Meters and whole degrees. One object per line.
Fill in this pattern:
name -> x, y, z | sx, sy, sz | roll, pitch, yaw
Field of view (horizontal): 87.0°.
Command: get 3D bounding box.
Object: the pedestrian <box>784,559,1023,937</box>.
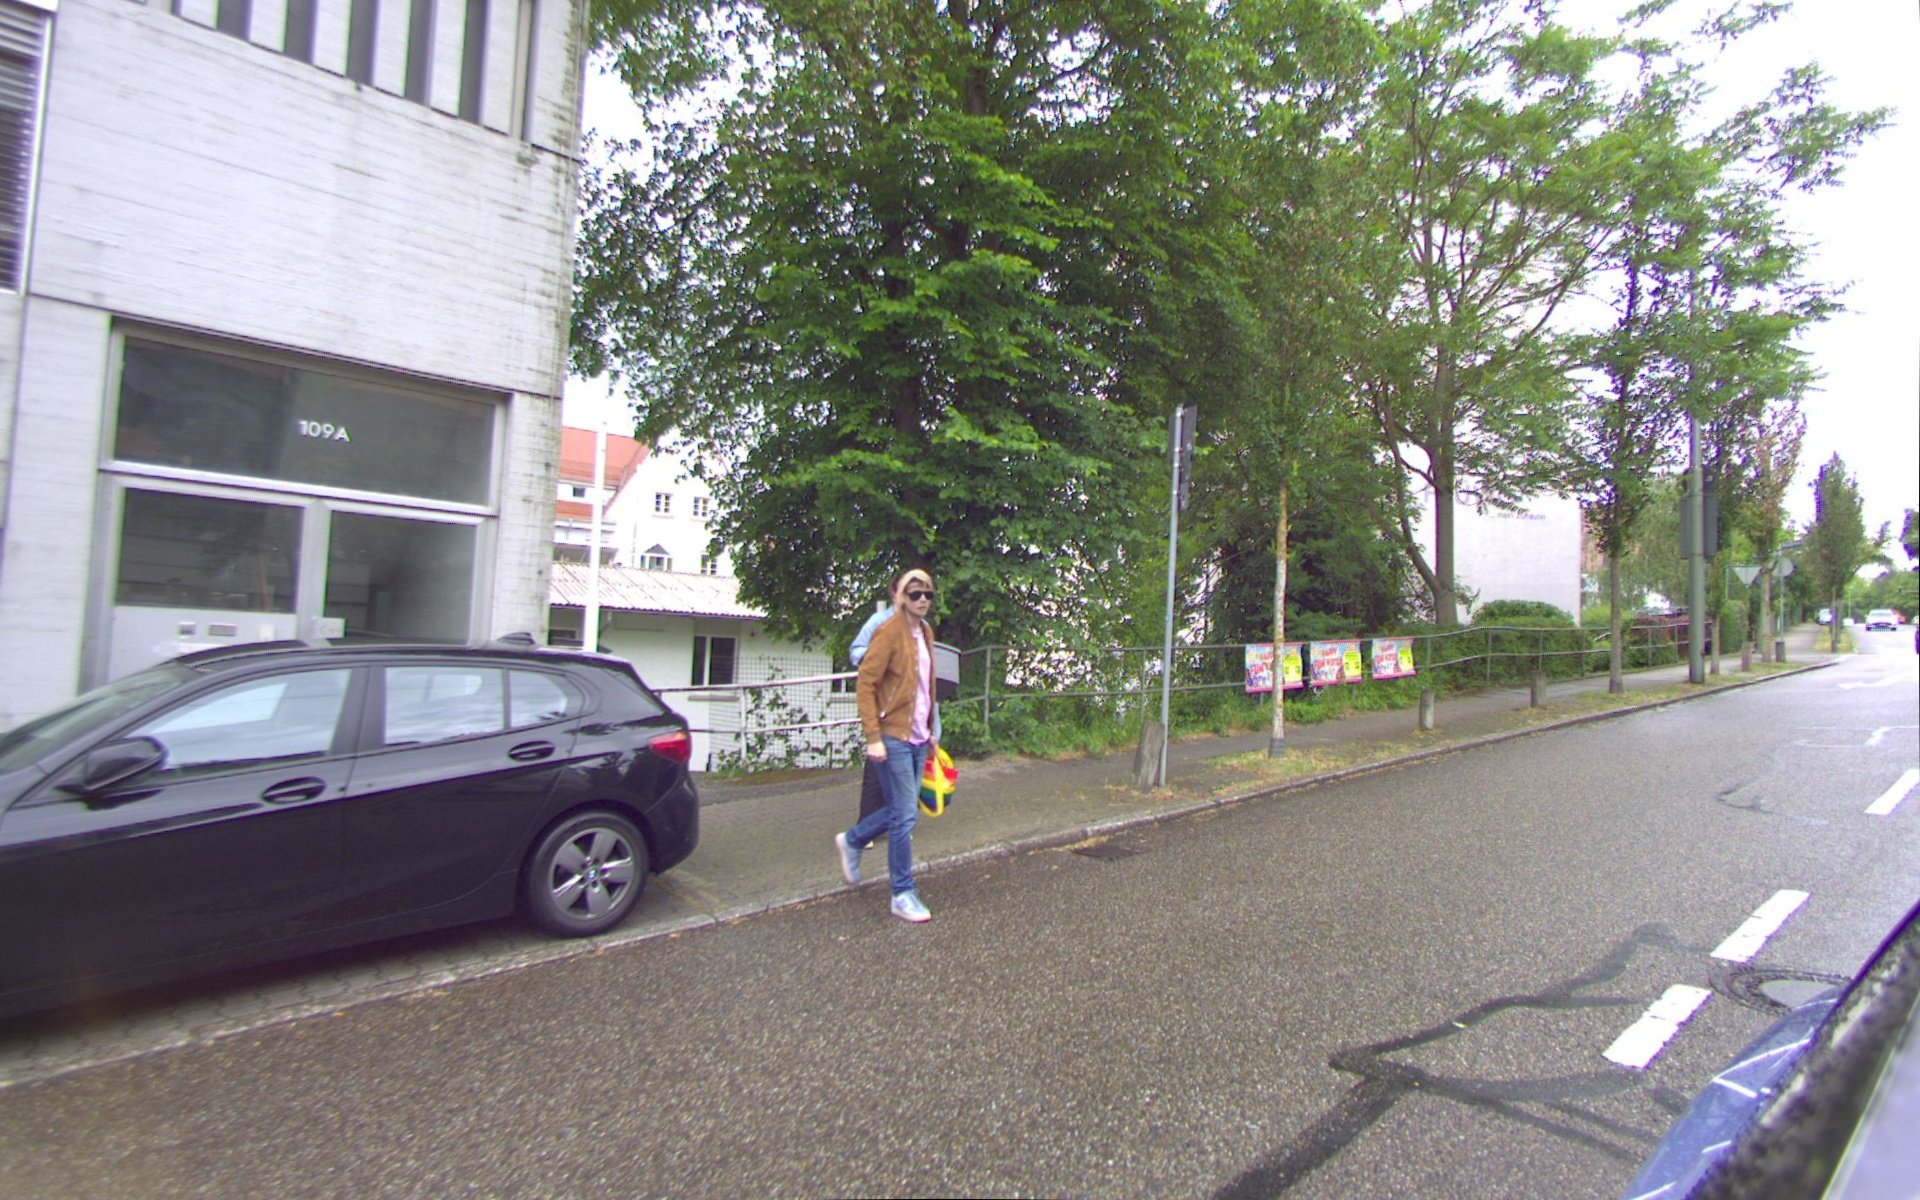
pedestrian -> -0.334, 0.716, 5.528 | 0.809, 1.805, 1.072 | 0, -2, -38

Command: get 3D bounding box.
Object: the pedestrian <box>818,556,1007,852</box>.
pedestrian -> -0.343, 0.643, 6.856 | 0.808, 1.805, 1.073 | -1, -2, -33

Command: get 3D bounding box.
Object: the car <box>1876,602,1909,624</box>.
car -> 74.983, 1.046, 81.372 | 1.830, 1.638, 4.282 | -1, 0, 44

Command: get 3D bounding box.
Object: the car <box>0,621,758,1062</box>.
car -> -3.376, 0.869, 4.802 | 4.368, 1.453, 1.995 | 0, 0, -43
